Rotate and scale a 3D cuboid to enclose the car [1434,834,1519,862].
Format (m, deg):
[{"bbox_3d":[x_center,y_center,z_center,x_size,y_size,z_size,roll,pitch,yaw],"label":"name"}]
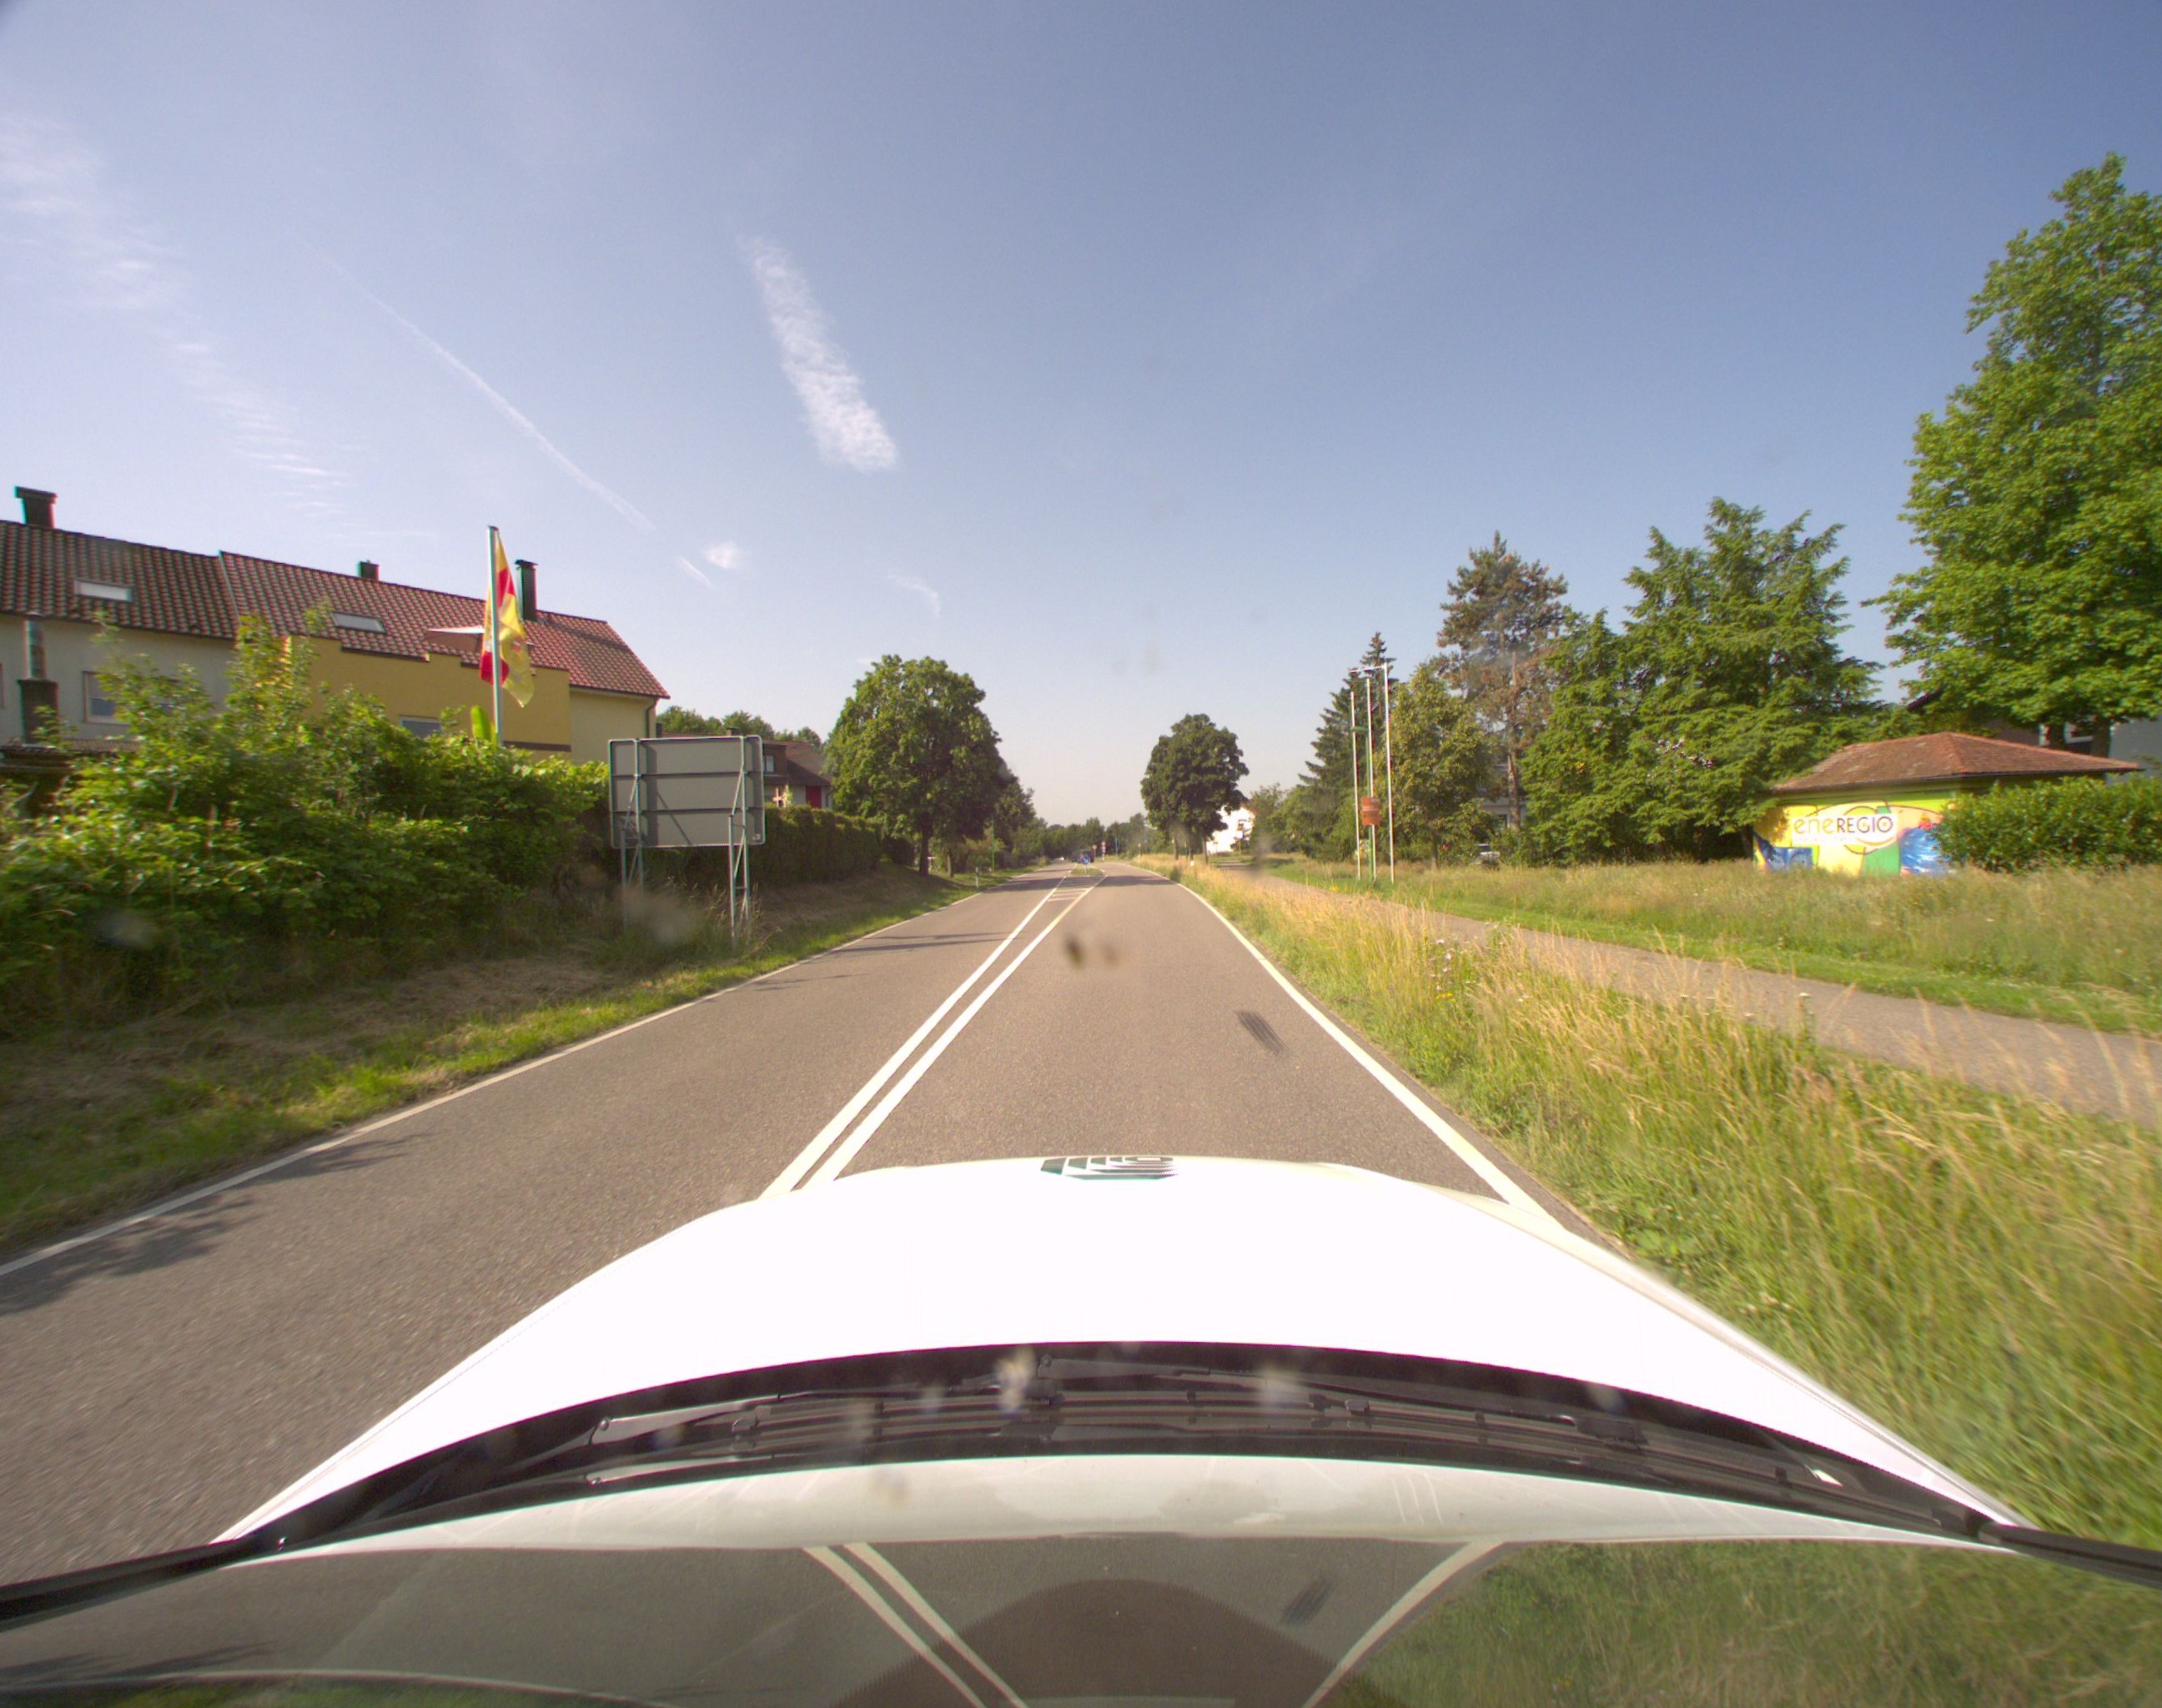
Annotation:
[{"bbox_3d":[22.436,-0.329,46.272,3.980,1.434,1.812,-2,0,-5],"label":"car"}]

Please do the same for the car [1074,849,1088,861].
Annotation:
[{"bbox_3d":[-0.007,0.146,126.106,2.000,1.771,3.996,-2,1,-3],"label":"car"}]

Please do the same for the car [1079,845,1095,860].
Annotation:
[{"bbox_3d":[0.723,-0.208,105.925,1.920,1.771,3.998,-2,1,-2],"label":"car"}]
